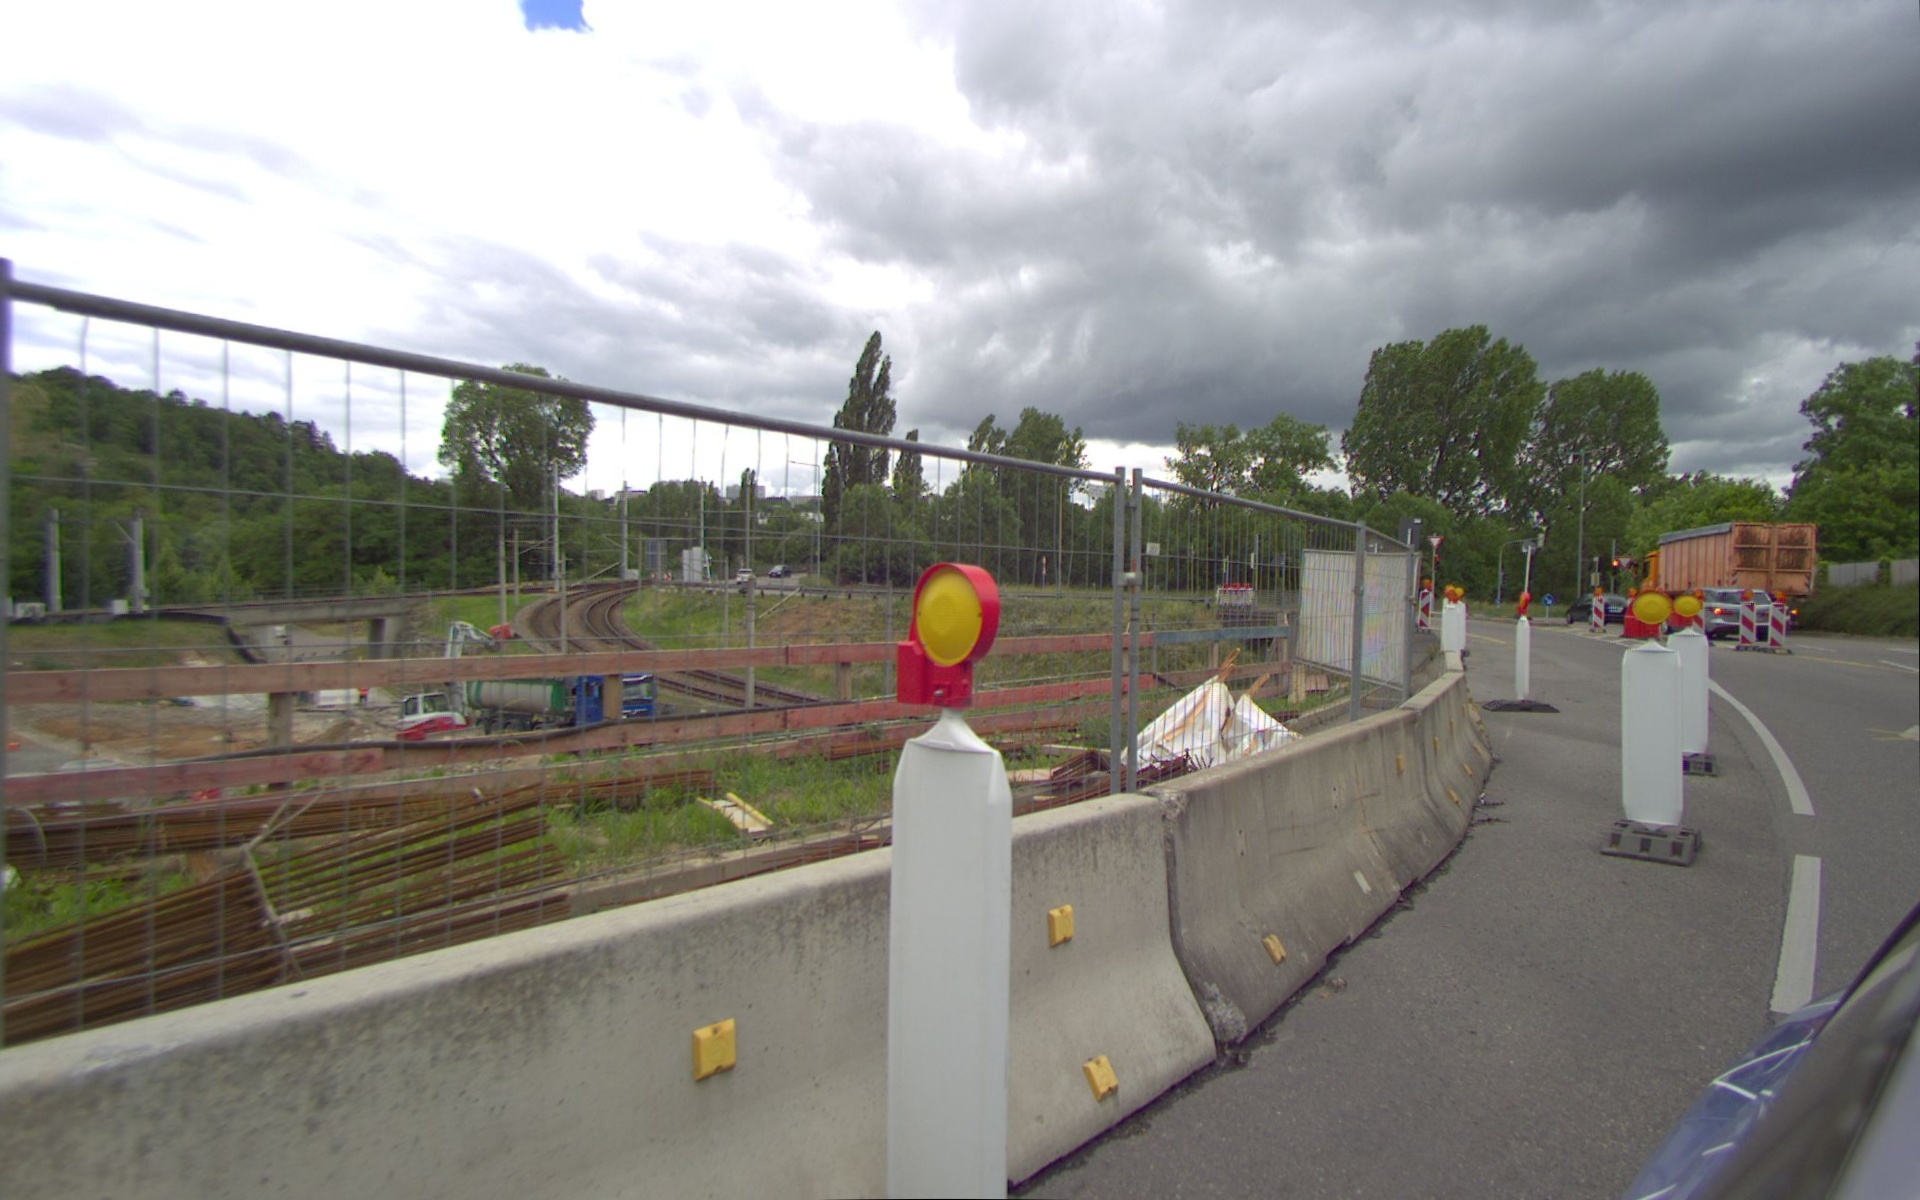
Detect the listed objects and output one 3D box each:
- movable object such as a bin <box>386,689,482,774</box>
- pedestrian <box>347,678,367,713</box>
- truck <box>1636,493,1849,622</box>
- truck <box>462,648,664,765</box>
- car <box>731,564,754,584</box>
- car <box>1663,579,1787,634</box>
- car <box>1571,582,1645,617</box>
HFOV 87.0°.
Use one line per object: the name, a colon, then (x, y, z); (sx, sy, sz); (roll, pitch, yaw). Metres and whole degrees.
movable object such as a bin: (-21.560, 5.271, 41.395); (2.989, 2.784, 4.288); (0, 0, -35)
pedestrian: (-36.326, 5.745, 60.986); (0.678, 2.040, 0.814); (-2, -2, 37)
truck: (29.430, -1.536, 38.756); (3.078, 4.273, 9.741); (1, 1, 17)
truck: (-17.504, 4.354, 44.026); (11.560, 3.942, 2.807); (1, 1, 39)
car: (-22.822, -2.695, 106.482); (2.040, 1.782, 4.327); (2, -2, -8)
car: (23.694, 0.144, 31.525); (1.615, 1.564, 4.329); (0, 1, 16)
car: (31.416, -0.033, 49.145); (1.617, 1.571, 3.777); (3, 1, 10)
